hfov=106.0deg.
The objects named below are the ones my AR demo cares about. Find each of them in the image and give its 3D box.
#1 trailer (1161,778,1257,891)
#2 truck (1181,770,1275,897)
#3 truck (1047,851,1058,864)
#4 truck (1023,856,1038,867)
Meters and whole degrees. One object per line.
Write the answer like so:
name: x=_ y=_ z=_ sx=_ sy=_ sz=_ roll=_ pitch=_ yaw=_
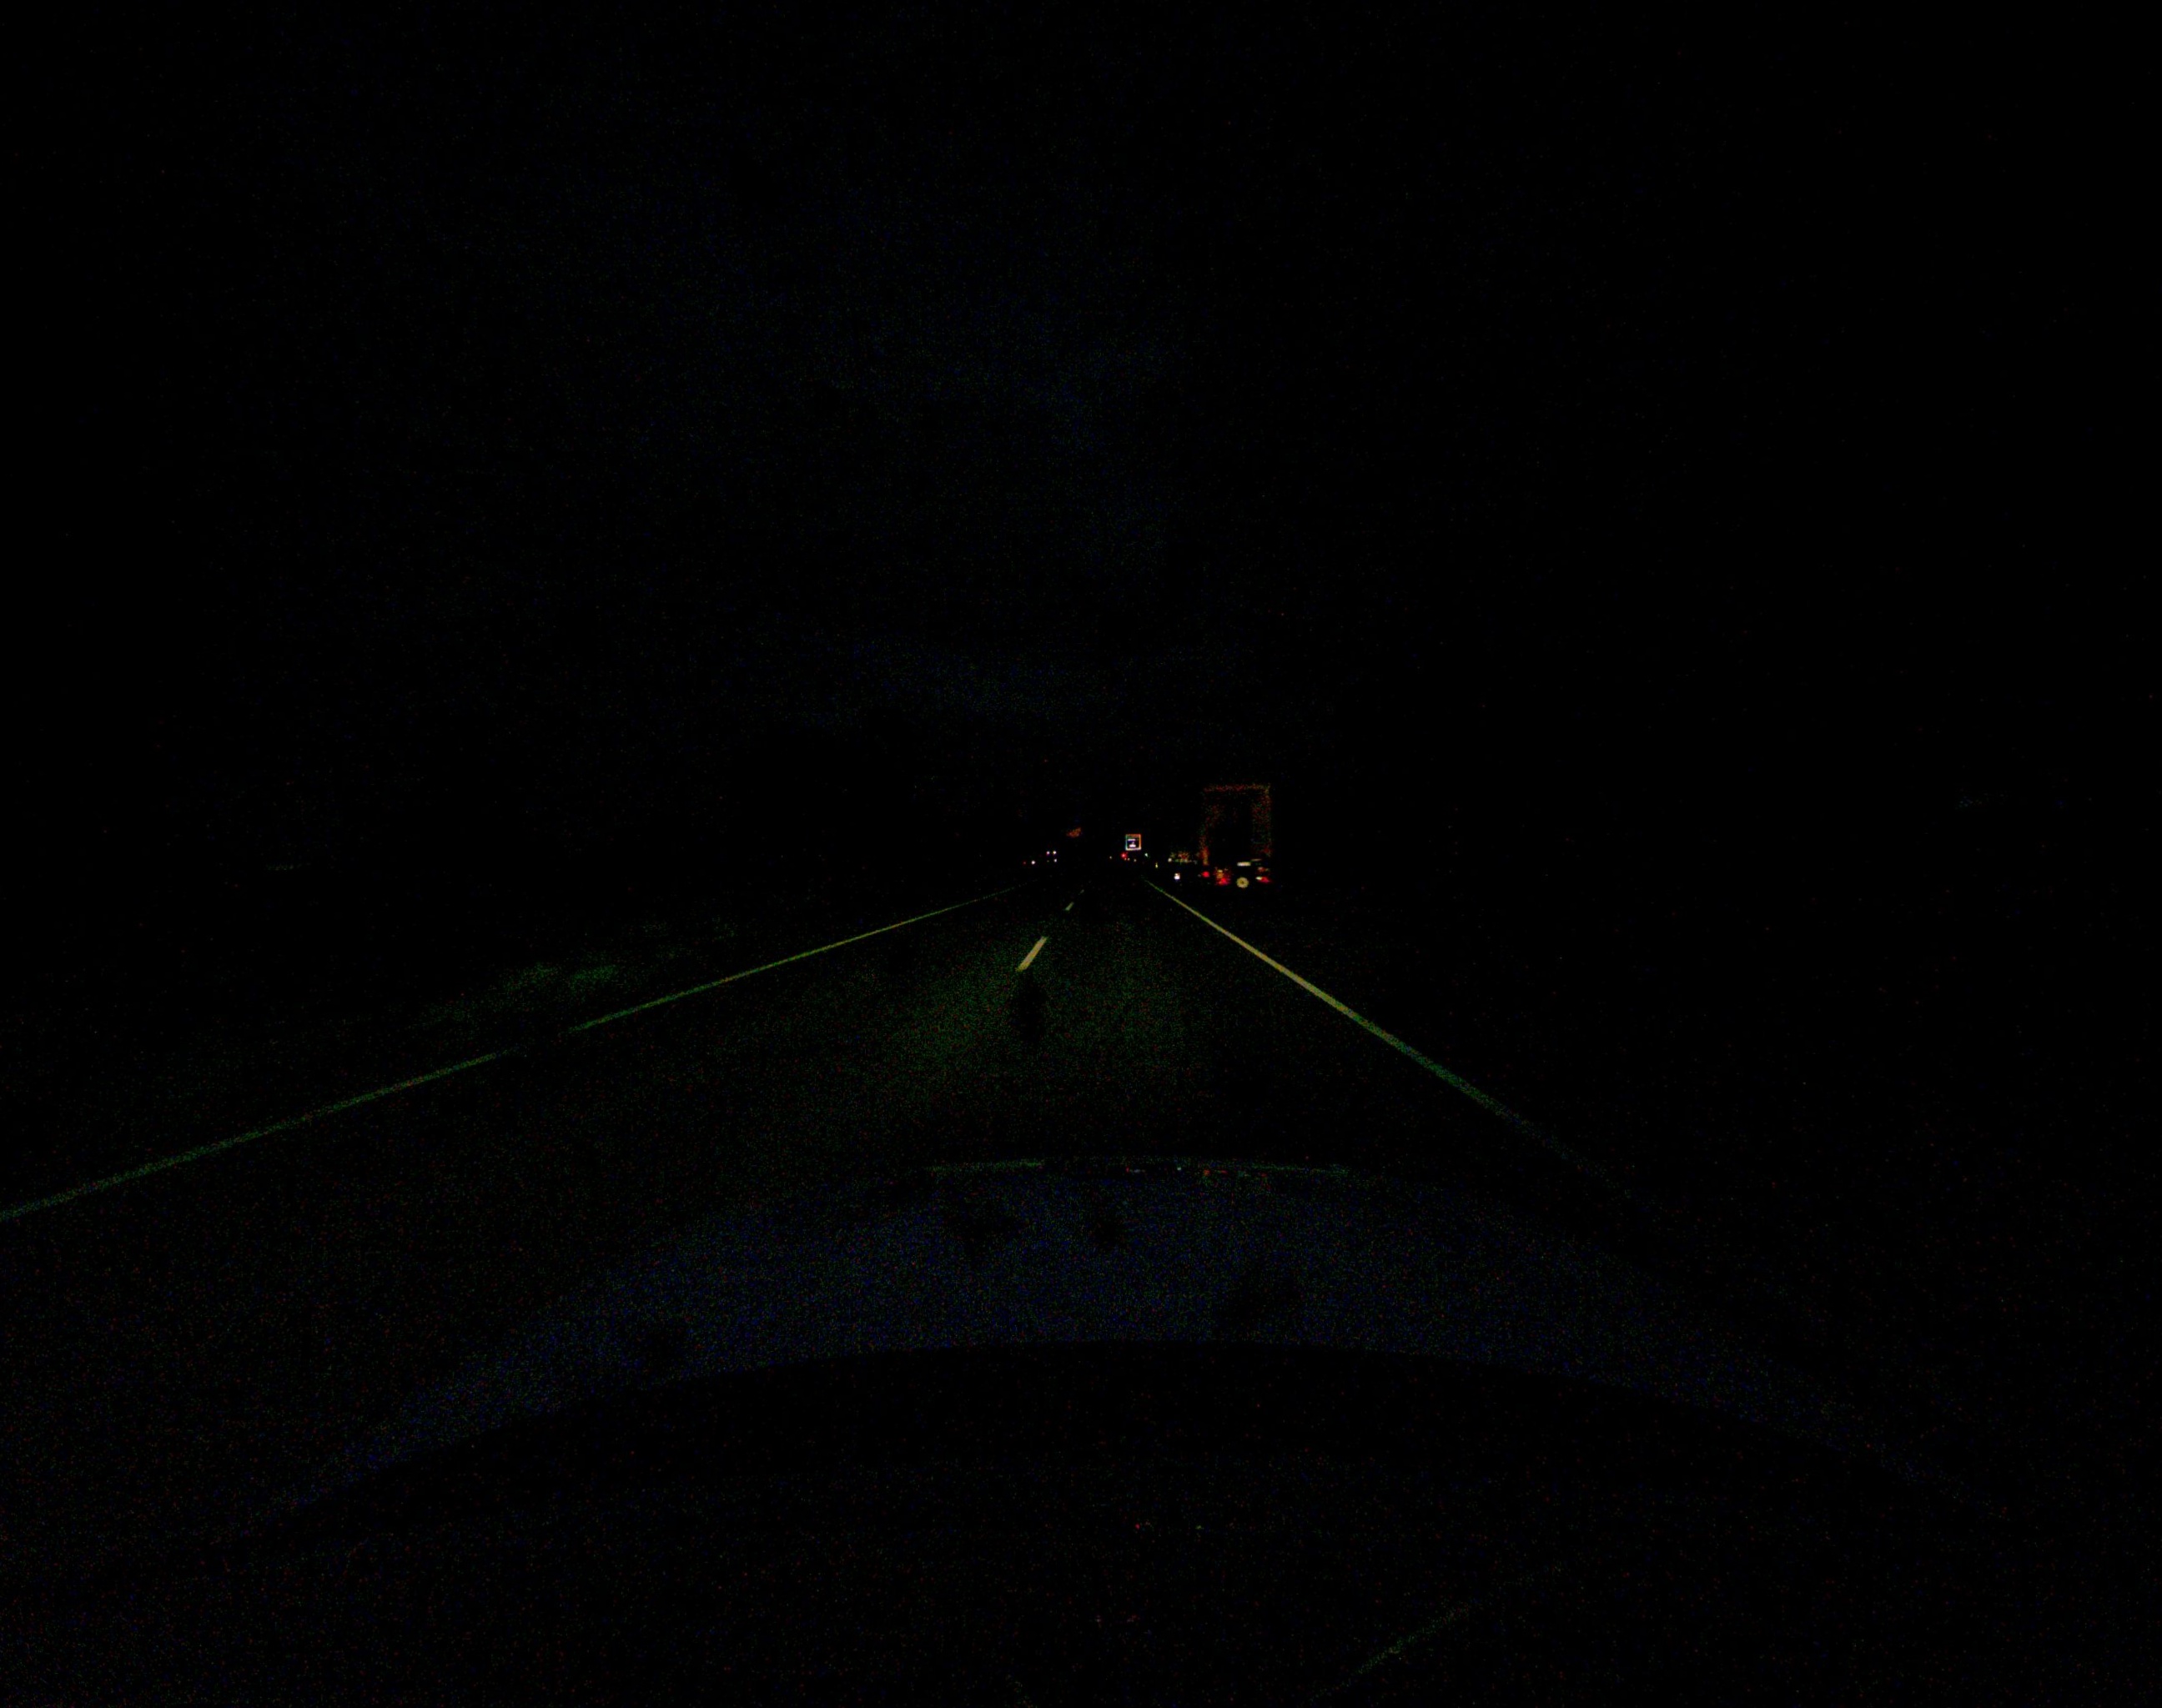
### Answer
trailer: x=5.363 y=-0.695 z=36.580 sx=2.612 sy=4.104 sz=12.943 roll=-2 pitch=0 yaw=2
truck: x=5.129 y=-0.678 z=29.361 sx=2.569 sy=4.071 sz=6.134 roll=0 pitch=0 yaw=3
truck: x=-7.382 y=0.865 z=213.596 sx=2.210 sy=3.445 sz=6.720 roll=0 pitch=-1 yaw=3
truck: x=-7.948 y=1.119 z=127.843 sx=2.009 sy=1.653 sz=4.774 roll=0 pitch=-1 yaw=1
